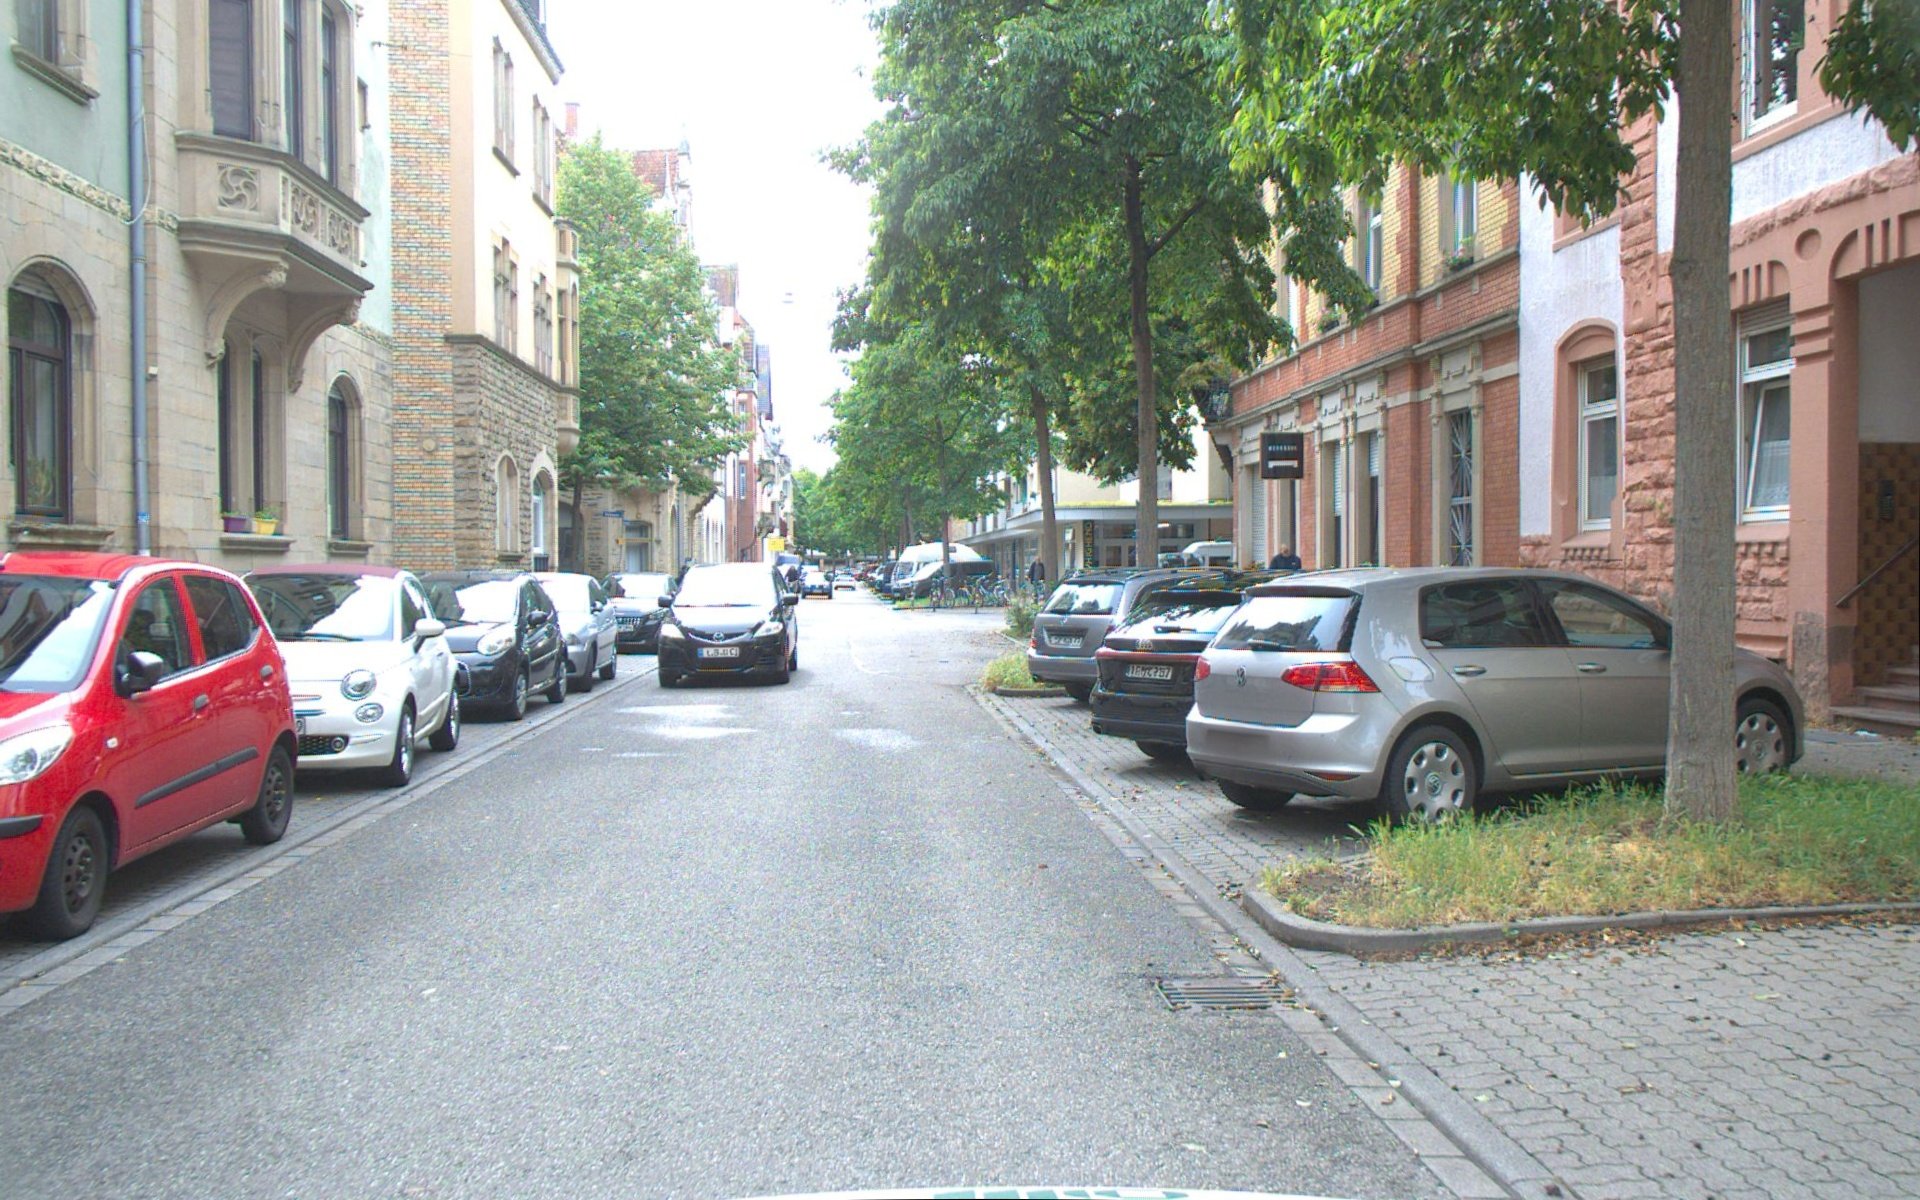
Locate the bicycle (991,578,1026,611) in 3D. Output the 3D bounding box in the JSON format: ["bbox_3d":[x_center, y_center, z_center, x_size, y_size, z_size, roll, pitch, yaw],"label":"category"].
[{"bbox_3d":[1.765,-0.213,60.236,0.541,1.194,1.684,-1,1,-25],"label":"bicycle"}]

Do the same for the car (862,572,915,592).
[{"bbox_3d":[-5.902,-1.502,136.537,3.977,1.586,1.861,-1,1,-35],"label":"car"}]

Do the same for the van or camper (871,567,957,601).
[{"bbox_3d":[-2.853,-0.987,103.056,4.958,1.902,2.104,-3,1,-32],"label":"van or camper"}]

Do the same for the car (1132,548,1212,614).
[{"bbox_3d":[6.187,-0.568,48.559,1.734,1.850,3.999,0,1,-2],"label":"car"}]

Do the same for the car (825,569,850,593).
[{"bbox_3d":[-9.868,-1.486,133.344,1.954,1.825,3.997,1,0,-3],"label":"car"}]

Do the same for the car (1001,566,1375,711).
[{"bbox_3d":[2.672,0.351,18.773,4.404,1.452,1.733,-1,1,-40],"label":"car"}]

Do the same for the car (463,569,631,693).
[{"bbox_3d":[-5.383,0.344,21.957,1.558,1.459,3.806,1,1,-5],"label":"car"}]

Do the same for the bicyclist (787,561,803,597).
[{"bbox_3d":[-7.208,-0.918,72.206,0.634,1.565,0.676,-1,1,-2],"label":"bicyclist"}]

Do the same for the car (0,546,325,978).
[{"bbox_3d":[-4.267,0.535,7.703,1.436,1.557,3.566,1,1,-4],"label":"car"}]

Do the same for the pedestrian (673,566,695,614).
[{"bbox_3d":[-9.645,-0.364,57.821,0.603,1.672,0.604,0,1,8],"label":"pedestrian"}]

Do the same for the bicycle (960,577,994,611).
[{"bbox_3d":[0.598,-0.238,59.404,0.541,1.194,1.714,-1,1,-25],"label":"bicycle"}]

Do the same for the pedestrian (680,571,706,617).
[{"bbox_3d":[-9.476,-0.216,58.635,0.619,1.621,0.667,1,1,37],"label":"pedestrian"}]

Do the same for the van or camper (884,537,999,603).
[{"bbox_3d":[-0.742,-1.246,68.477,4.547,2.641,1.886,-1,1,-37],"label":"van or camper"}]

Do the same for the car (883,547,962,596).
[{"bbox_3d":[-1.732,-1.332,77.583,2.019,2.234,4.396,1,1,25],"label":"car"}]

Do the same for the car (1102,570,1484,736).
[{"bbox_3d":[3.379,0.435,16.461,3.847,1.460,1.721,-1,1,-40],"label":"car"}]

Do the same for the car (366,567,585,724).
[{"bbox_3d":[-5.021,0.403,17.529,1.487,1.459,3.453,1,1,-4],"label":"car"}]

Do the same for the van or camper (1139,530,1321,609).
[{"bbox_3d":[8.789,-1.002,54.241,5.650,2.538,2.137,0,1,2],"label":"van or camper"}]

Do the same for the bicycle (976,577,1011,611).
[{"bbox_3d":[1.214,-0.225,59.858,0.541,1.194,1.714,-1,1,-25],"label":"bicycle"}]

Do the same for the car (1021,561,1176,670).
[{"bbox_3d":[2.102,0.187,26.311,1.729,1.512,4.476,-2,1,-4],"label":"car"}]

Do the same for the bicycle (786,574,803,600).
[{"bbox_3d":[-7.203,-0.575,72.174,0.621,1.113,1.798,-1,0,-2],"label":"bicycle"}]

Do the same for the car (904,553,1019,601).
[{"bbox_3d":[0.069,-0.928,66.467,4.285,1.886,1.892,0,1,-30],"label":"car"}]

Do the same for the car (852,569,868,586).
[{"bbox_3d":[-12.508,-2.783,206.630,1.955,2.048,3.997,2,1,-5],"label":"car"}]

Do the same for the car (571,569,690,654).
[{"bbox_3d":[-6.153,0.168,31.241,1.693,1.459,3.879,1,1,-4],"label":"car"}]

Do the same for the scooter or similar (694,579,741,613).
[{"bbox_3d":[-8.404,-0.146,57.401,1.438,1.123,0.676,2,1,7],"label":"scooter or similar"}]

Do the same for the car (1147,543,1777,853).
[{"bbox_3d":[3.047,0.473,10.057,3.416,1.590,1.771,0,1,-27],"label":"car"}]

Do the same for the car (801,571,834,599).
[{"bbox_3d":[-7.628,-0.775,88.793,1.674,1.438,3.849,-1,0,-4],"label":"car"}]

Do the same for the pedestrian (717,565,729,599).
[{"bbox_3d":[-11.073,-0.839,77.186,0.505,1.545,0.546,-1,1,-4],"label":"pedestrian"}]

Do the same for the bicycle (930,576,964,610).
[{"bbox_3d":[-0.468,-0.263,58.749,0.541,1.194,1.714,-1,1,-25],"label":"bicycle"}]

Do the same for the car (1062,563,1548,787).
[{"bbox_3d":[2.720,0.468,12.777,3.652,1.492,1.684,-1,1,-36],"label":"car"}]

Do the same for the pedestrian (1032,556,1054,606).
[{"bbox_3d":[3.006,-0.694,60.098,0.763,1.828,0.509,0,1,-2],"label":"pedestrian"}]

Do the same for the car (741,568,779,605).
[{"bbox_3d":[-9.281,-0.645,77.033,1.614,1.598,2.954,1,2,-5],"label":"car"}]

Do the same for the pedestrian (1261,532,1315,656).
[{"bbox_3d":[4.745,-0.088,23.964,0.586,1.763,0.663,-1,1,-6],"label":"pedestrian"}]

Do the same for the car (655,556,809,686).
[{"bbox_3d":[-3.112,0.222,23.340,1.773,1.658,4.206,0,1,-3],"label":"car"}]

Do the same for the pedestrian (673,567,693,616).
[{"bbox_3d":[-9.595,-0.304,57.227,0.516,1.672,0.529,1,1,8],"label":"pedestrian"}]

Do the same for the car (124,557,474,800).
[{"bbox_3d":[-4.737,0.462,12.360,1.635,1.537,3.547,0,1,-8],"label":"car"}]
